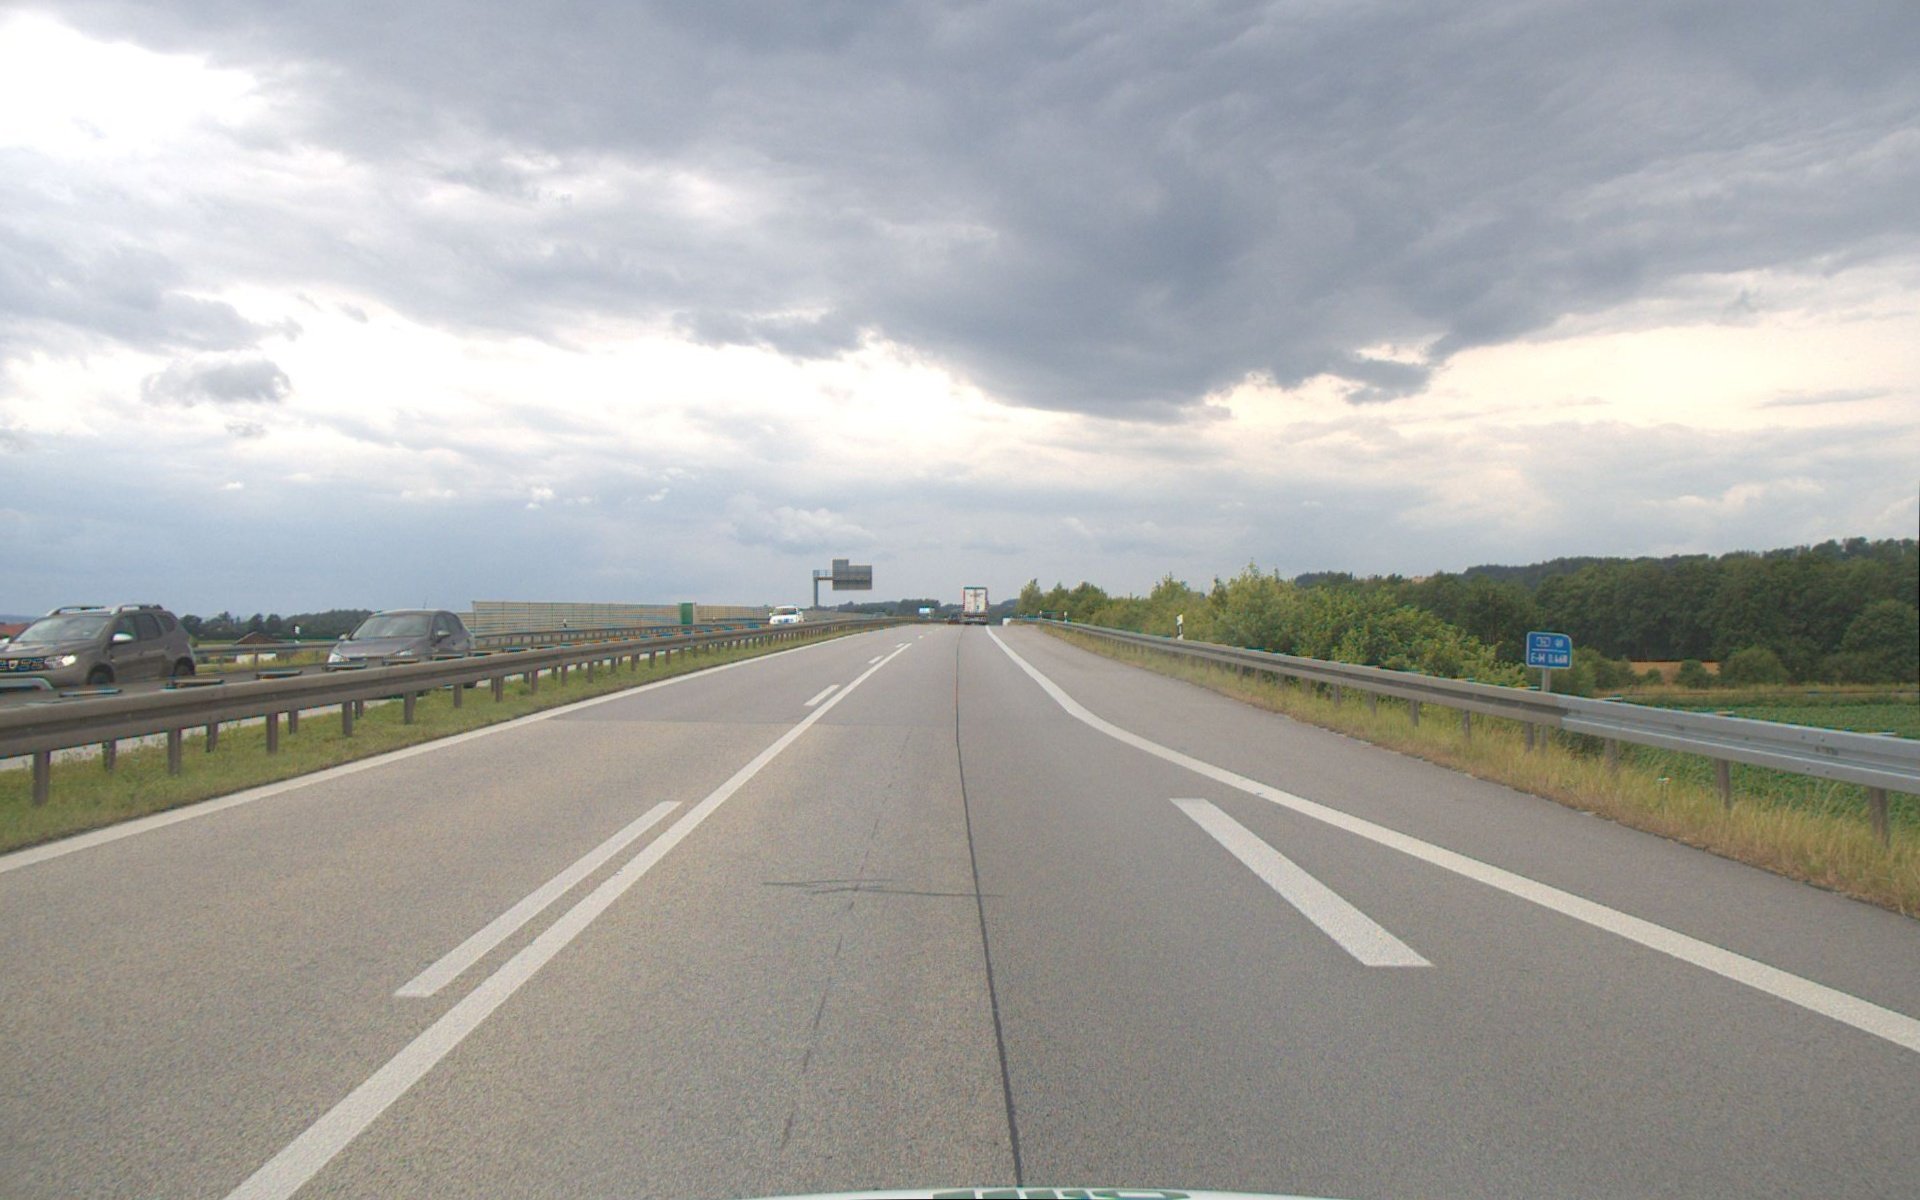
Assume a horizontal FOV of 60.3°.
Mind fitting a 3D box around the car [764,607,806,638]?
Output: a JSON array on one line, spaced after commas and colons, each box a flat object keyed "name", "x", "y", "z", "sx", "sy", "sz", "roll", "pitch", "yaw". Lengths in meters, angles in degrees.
[{"name": "car", "x": -10.972, "y": 1.386, "z": 103.877, "sx": 2.028, "sy": 1.776, "sz": 4.960, "roll": -2, "pitch": 1, "yaw": 0}]

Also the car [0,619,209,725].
[{"name": "car", "x": -13.545, "y": 1.068, "z": 25.917, "sx": 1.763, "sy": 1.417, "sz": 3.999, "roll": 1, "pitch": 0, "yaw": -1}]

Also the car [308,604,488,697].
[{"name": "car", "x": -9.582, "y": 0.812, "z": 28.513, "sx": 1.763, "sy": 1.417, "sz": 3.999, "roll": -1, "pitch": 0, "yaw": -1}]

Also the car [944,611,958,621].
[{"name": "car", "x": -1.403, "y": 2.357, "z": 248.985, "sx": 1.953, "sy": 1.445, "sz": 3.999, "roll": 1, "pitch": 0, "yaw": -2}]

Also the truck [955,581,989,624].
[{"name": "truck", "x": 1.422, "y": 0.385, "z": 190.091, "sx": 3.596, "sy": 4.490, "sz": 16.341, "roll": -1, "pitch": -1, "yaw": 1}]
